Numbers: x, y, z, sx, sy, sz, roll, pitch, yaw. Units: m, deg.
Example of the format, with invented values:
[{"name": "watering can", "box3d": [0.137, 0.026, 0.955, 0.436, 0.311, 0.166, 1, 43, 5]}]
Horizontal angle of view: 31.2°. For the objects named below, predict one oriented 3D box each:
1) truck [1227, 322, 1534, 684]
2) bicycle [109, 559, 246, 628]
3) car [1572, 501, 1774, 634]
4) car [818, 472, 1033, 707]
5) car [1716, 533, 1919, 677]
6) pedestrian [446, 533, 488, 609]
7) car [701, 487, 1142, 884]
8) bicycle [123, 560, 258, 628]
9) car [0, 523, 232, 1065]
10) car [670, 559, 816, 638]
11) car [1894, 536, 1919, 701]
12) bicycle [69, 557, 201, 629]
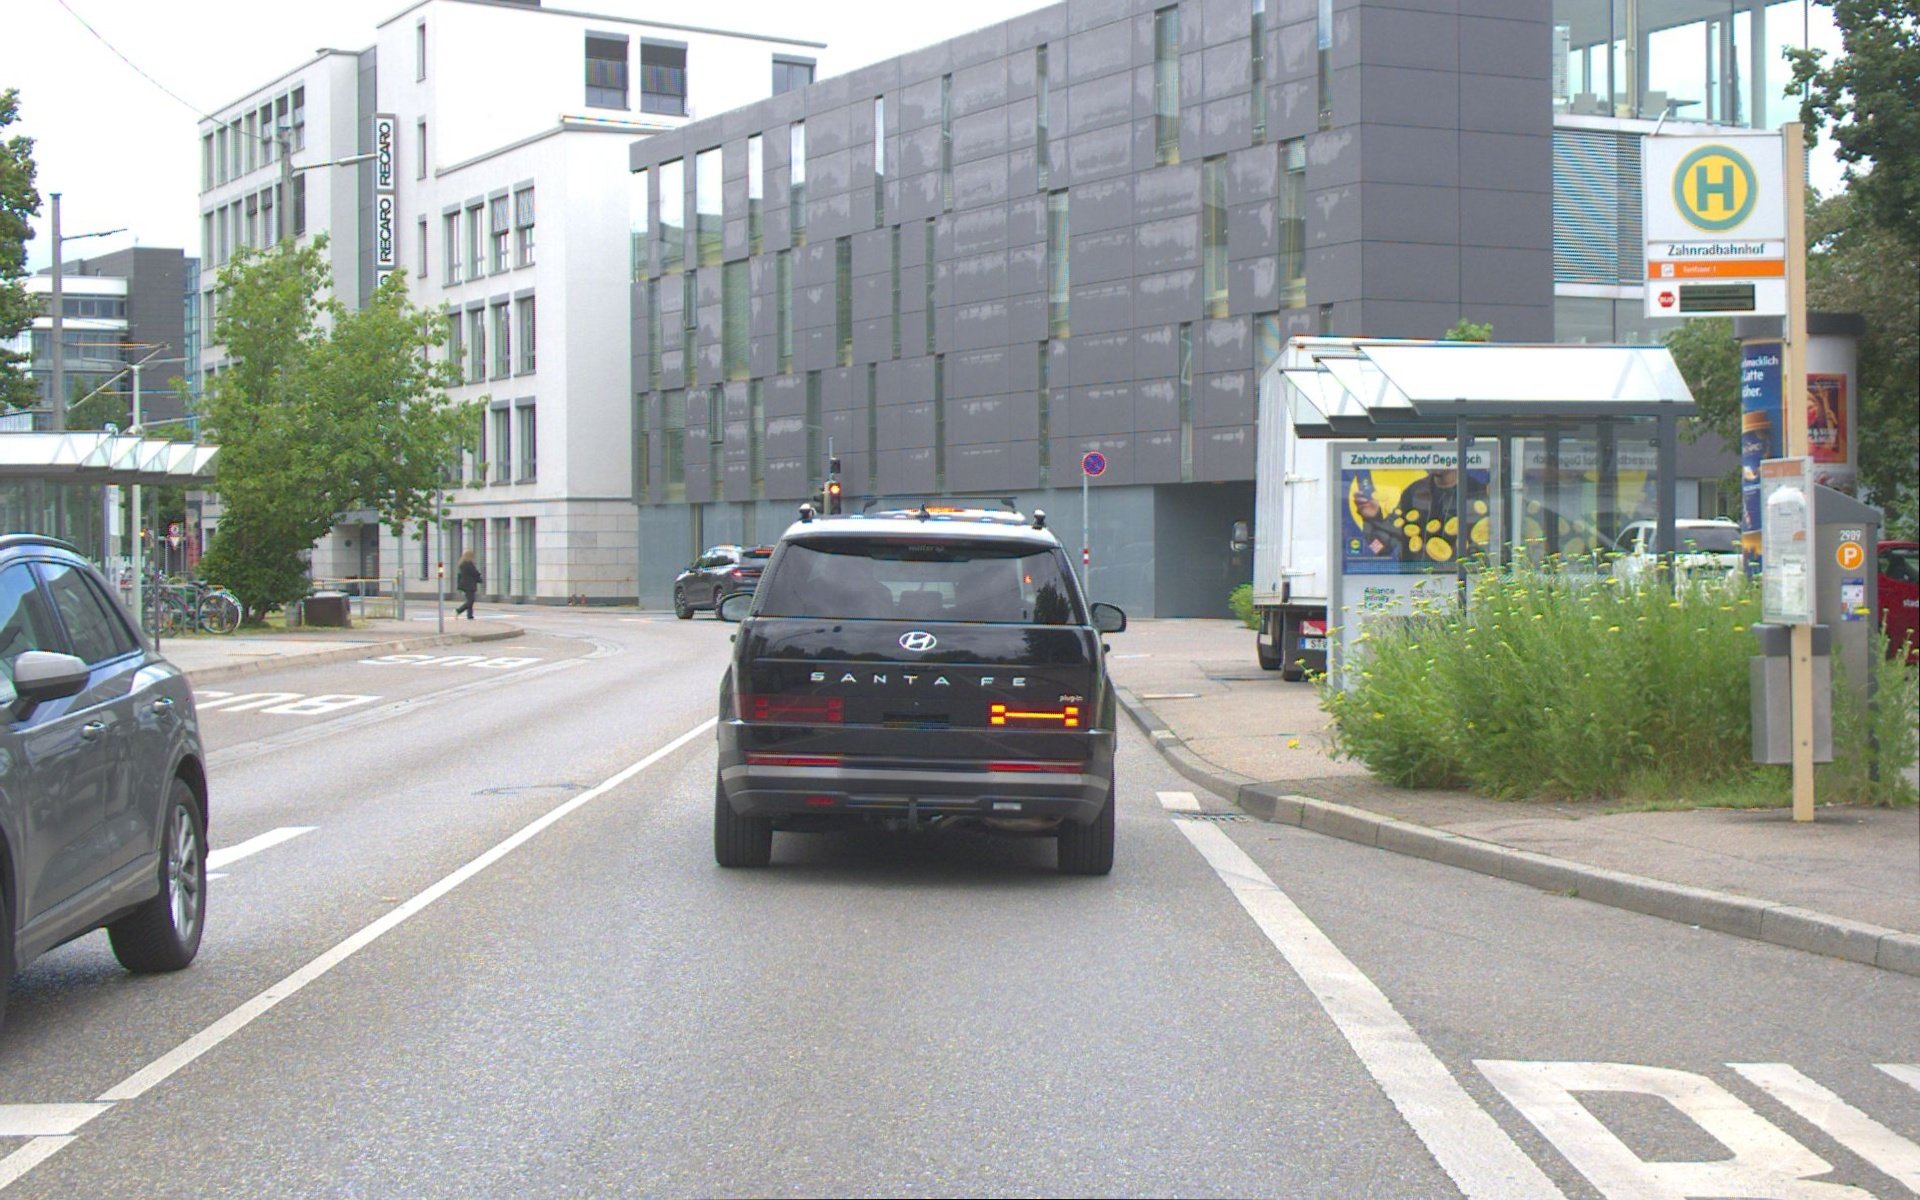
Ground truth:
[{"name": "truck", "box3d": [4.409, -1.013, 37.500, 2.573, 3.513, 7.810, 0, 1, 2]}, {"name": "bicycle", "box3d": [-12.894, -0.109, 56.641, 2.099, 1.102, 0.631, 1, 1, 2]}, {"name": "car", "box3d": [10.492, -0.467, 50.928, 1.993, 1.831, 4.518, -2, 0, 0]}, {"name": "car", "box3d": [-0.312, -0.138, 32.135, 1.855, 2.026, 4.437, 0, 1, 0]}, {"name": "car", "box3d": [9.929, 0.068, 36.347, 3.491, 1.450, 1.681, 1, 0, -28]}, {"name": "pedestrian", "box3d": [-11.683, -0.684, 81.508, 0.938, 1.794, 0.591, -1, 1, -11]}, {"name": "car", "box3d": [-0.254, 0.347, 17.320, 1.915, 1.719, 4.171, 1, 1, -2]}, {"name": "bicycle", "box3d": [-12.847, -0.108, 57.389, 2.099, 1.102, 0.631, 1, 1, 2]}, {"name": "car", "box3d": [-3.650, 0.558, 11.080, 1.739, 1.554, 4.184, -1, 1, -1]}, {"name": "car", "box3d": [-4.904, -0.040, 77.119, 1.847, 1.671, 4.376, -2, 1, -24]}, {"name": "car", "box3d": [10.511, 0.217, 31.087, 3.790, 1.469, 1.798, 2, 0, -30]}, {"name": "bicycle", "box3d": [-13.052, -0.110, 54.416, 1.928, 1.102, 0.587, 1, 1, 2]}]
